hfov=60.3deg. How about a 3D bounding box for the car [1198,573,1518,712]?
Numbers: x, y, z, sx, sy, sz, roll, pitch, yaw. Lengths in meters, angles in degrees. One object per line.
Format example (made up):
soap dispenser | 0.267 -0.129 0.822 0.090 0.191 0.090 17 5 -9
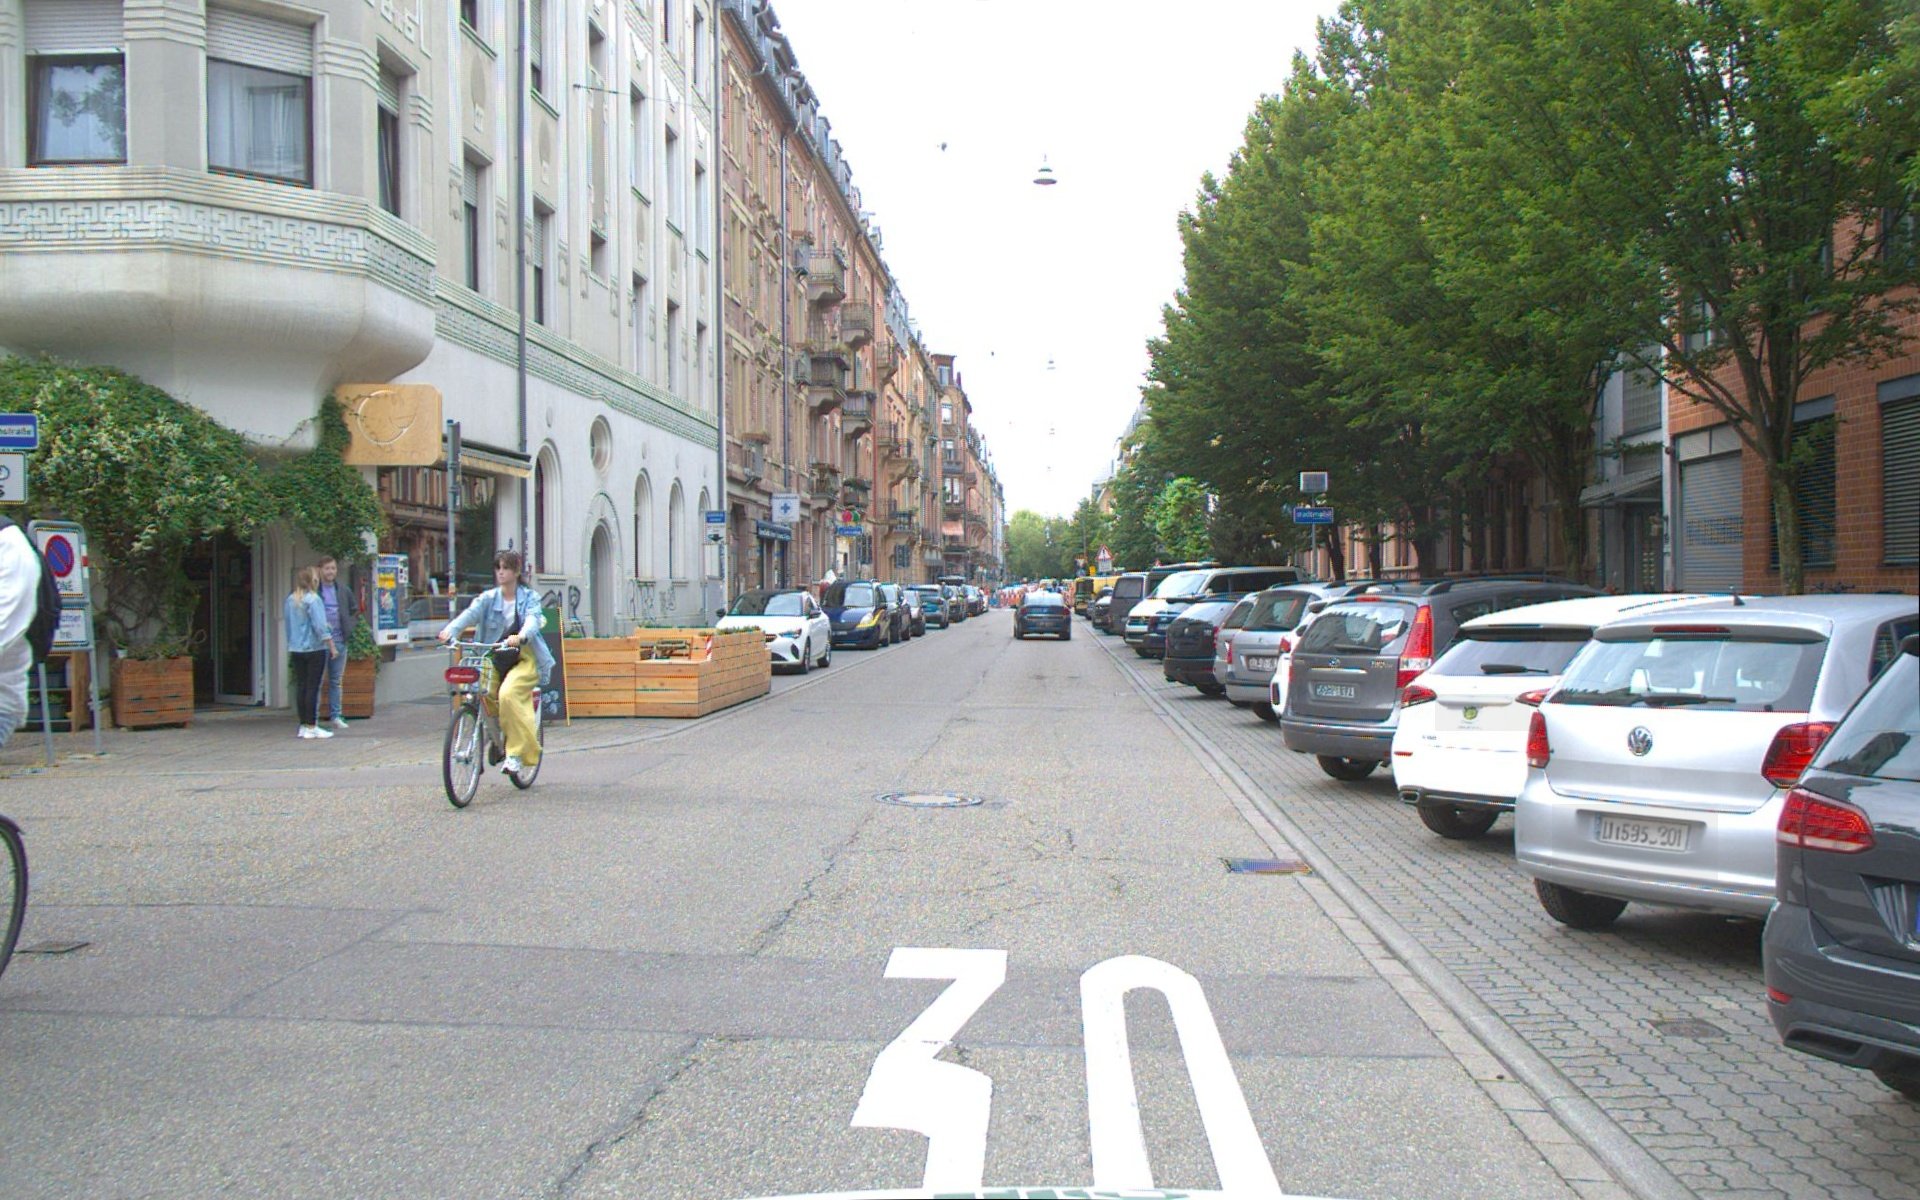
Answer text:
car | 5.256 0.512 21.743 4.006 1.612 1.752 -2 0 -31

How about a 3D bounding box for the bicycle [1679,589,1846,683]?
bicycle | 9.653 0.431 19.938 1.716 1.111 0.565 0 -1 2

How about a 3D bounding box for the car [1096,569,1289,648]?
car | 6.542 0.230 46.340 5.333 2.027 1.930 -2 0 -32

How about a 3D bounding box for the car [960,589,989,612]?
car | 0.979 0.060 115.514 1.953 1.525 3.999 0 -1 0

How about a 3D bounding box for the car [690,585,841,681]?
car | -3.426 0.561 29.831 1.903 1.580 3.820 -2 0 5

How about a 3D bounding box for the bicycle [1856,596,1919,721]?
bicycle | 9.233 0.525 15.076 1.798 1.111 0.565 0 -1 2

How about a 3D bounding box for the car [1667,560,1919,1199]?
car | 4.211 0.618 4.748 4.230 1.606 1.844 -3 0 -31

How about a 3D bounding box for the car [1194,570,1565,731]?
car | 4.848 0.528 19.036 4.001 1.612 1.755 -2 0 -28

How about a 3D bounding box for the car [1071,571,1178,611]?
car | 8.557 -0.456 86.060 5.322 1.900 1.933 -2 0 -27

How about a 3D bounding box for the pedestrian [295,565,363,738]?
pedestrian | -6.578 0.532 17.232 0.573 1.765 0.500 1 -1 -33

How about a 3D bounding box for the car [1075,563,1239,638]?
car | 6.854 -0.006 57.529 5.304 2.415 1.940 -2 0 -19

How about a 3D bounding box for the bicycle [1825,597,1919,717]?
bicycle | 9.231 0.533 15.707 1.716 1.111 0.565 0 -1 2

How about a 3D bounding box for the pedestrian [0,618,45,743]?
pedestrian | -9.602 0.796 16.535 0.566 1.218 0.555 0 1 3

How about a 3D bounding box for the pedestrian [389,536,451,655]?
pedestrian | -7.471 -0.052 22.883 0.734 1.621 0.613 0 -1 -28

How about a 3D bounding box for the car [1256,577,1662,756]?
car | 4.988 0.588 16.376 4.010 1.512 1.663 -2 0 -34

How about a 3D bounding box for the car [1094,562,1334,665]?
car | 5.917 0.284 38.259 5.551 2.164 1.930 -2 0 -32

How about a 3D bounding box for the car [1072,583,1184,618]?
car | 8.260 0.002 81.307 5.322 1.580 1.933 -1 0 -27

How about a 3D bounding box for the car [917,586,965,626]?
car | -0.840 0.274 75.093 1.903 1.772 3.944 0 0 3

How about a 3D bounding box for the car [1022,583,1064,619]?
car | 4.024 0.065 80.508 1.952 1.710 4.000 0 -1 2

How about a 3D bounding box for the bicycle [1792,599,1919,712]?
bicycle | 9.302 0.547 16.488 1.716 1.111 0.565 0 -1 2

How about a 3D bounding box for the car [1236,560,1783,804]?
car | 4.379 0.557 13.125 4.002 1.612 1.885 -2 0 -29

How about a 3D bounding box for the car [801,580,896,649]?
car | -2.750 0.341 41.570 1.903 1.645 3.944 0 0 3

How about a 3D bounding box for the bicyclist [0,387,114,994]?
bicyclist | -3.365 0.283 5.489 0.767 1.899 0.713 -1 0 -7

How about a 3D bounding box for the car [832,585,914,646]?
car | -2.420 0.424 47.036 1.903 1.645 3.944 0 0 3

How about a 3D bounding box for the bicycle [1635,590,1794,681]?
bicycle | 9.475 0.446 20.799 1.716 1.111 0.565 0 -1 2

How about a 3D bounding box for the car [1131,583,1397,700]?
car | 4.523 0.574 24.434 3.823 1.531 1.748 -2 0 -37

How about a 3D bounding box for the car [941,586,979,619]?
car | 0.041 0.130 92.685 1.903 1.768 3.944 -1 0 3

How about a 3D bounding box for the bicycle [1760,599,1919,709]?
bicycle | 9.277 0.557 17.095 1.716 1.111 0.565 0 -1 2

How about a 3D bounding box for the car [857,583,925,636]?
car | -2.204 0.299 54.119 1.903 1.645 3.944 0 0 2

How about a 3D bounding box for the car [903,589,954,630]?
car | -1.268 0.382 68.195 1.903 1.645 3.944 0 0 2

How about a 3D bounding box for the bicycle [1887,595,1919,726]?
bicycle | 9.079 0.514 14.287 1.798 1.111 0.543 0 -1 2

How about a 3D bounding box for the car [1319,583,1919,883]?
car | 4.403 0.719 10.450 3.928 1.570 1.858 1 0 -29

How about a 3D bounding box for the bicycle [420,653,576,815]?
bicycle | -3.158 0.881 11.460 0.524 0.995 1.865 0 -1 1

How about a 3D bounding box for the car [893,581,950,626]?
car | -1.428 0.118 63.158 1.904 1.645 3.944 -1 0 2

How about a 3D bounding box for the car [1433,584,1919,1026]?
car | 4.033 0.691 7.451 3.521 1.525 1.825 0 0 -33

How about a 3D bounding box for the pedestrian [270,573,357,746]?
pedestrian | -6.445 0.590 16.512 0.567 1.689 0.575 -1 -1 24

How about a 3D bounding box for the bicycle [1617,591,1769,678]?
bicycle | 9.507 0.448 21.486 1.716 1.111 0.565 0 -1 2

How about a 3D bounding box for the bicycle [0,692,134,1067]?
bicycle | -3.306 0.914 5.262 0.556 1.106 1.984 -1 0 -7

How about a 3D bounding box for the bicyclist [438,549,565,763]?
bicyclist | -3.150 0.381 11.425 0.654 1.423 0.783 0 -1 0

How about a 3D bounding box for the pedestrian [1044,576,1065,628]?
pedestrian | 3.996 0.109 69.881 0.872 2.183 1.028 0 -1 2

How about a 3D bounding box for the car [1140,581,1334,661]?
car | 5.829 0.425 34.716 3.813 1.531 1.752 -2 0 -31

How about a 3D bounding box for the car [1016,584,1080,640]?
car | 2.757 0.390 52.685 1.952 1.710 4.000 0 -1 2
